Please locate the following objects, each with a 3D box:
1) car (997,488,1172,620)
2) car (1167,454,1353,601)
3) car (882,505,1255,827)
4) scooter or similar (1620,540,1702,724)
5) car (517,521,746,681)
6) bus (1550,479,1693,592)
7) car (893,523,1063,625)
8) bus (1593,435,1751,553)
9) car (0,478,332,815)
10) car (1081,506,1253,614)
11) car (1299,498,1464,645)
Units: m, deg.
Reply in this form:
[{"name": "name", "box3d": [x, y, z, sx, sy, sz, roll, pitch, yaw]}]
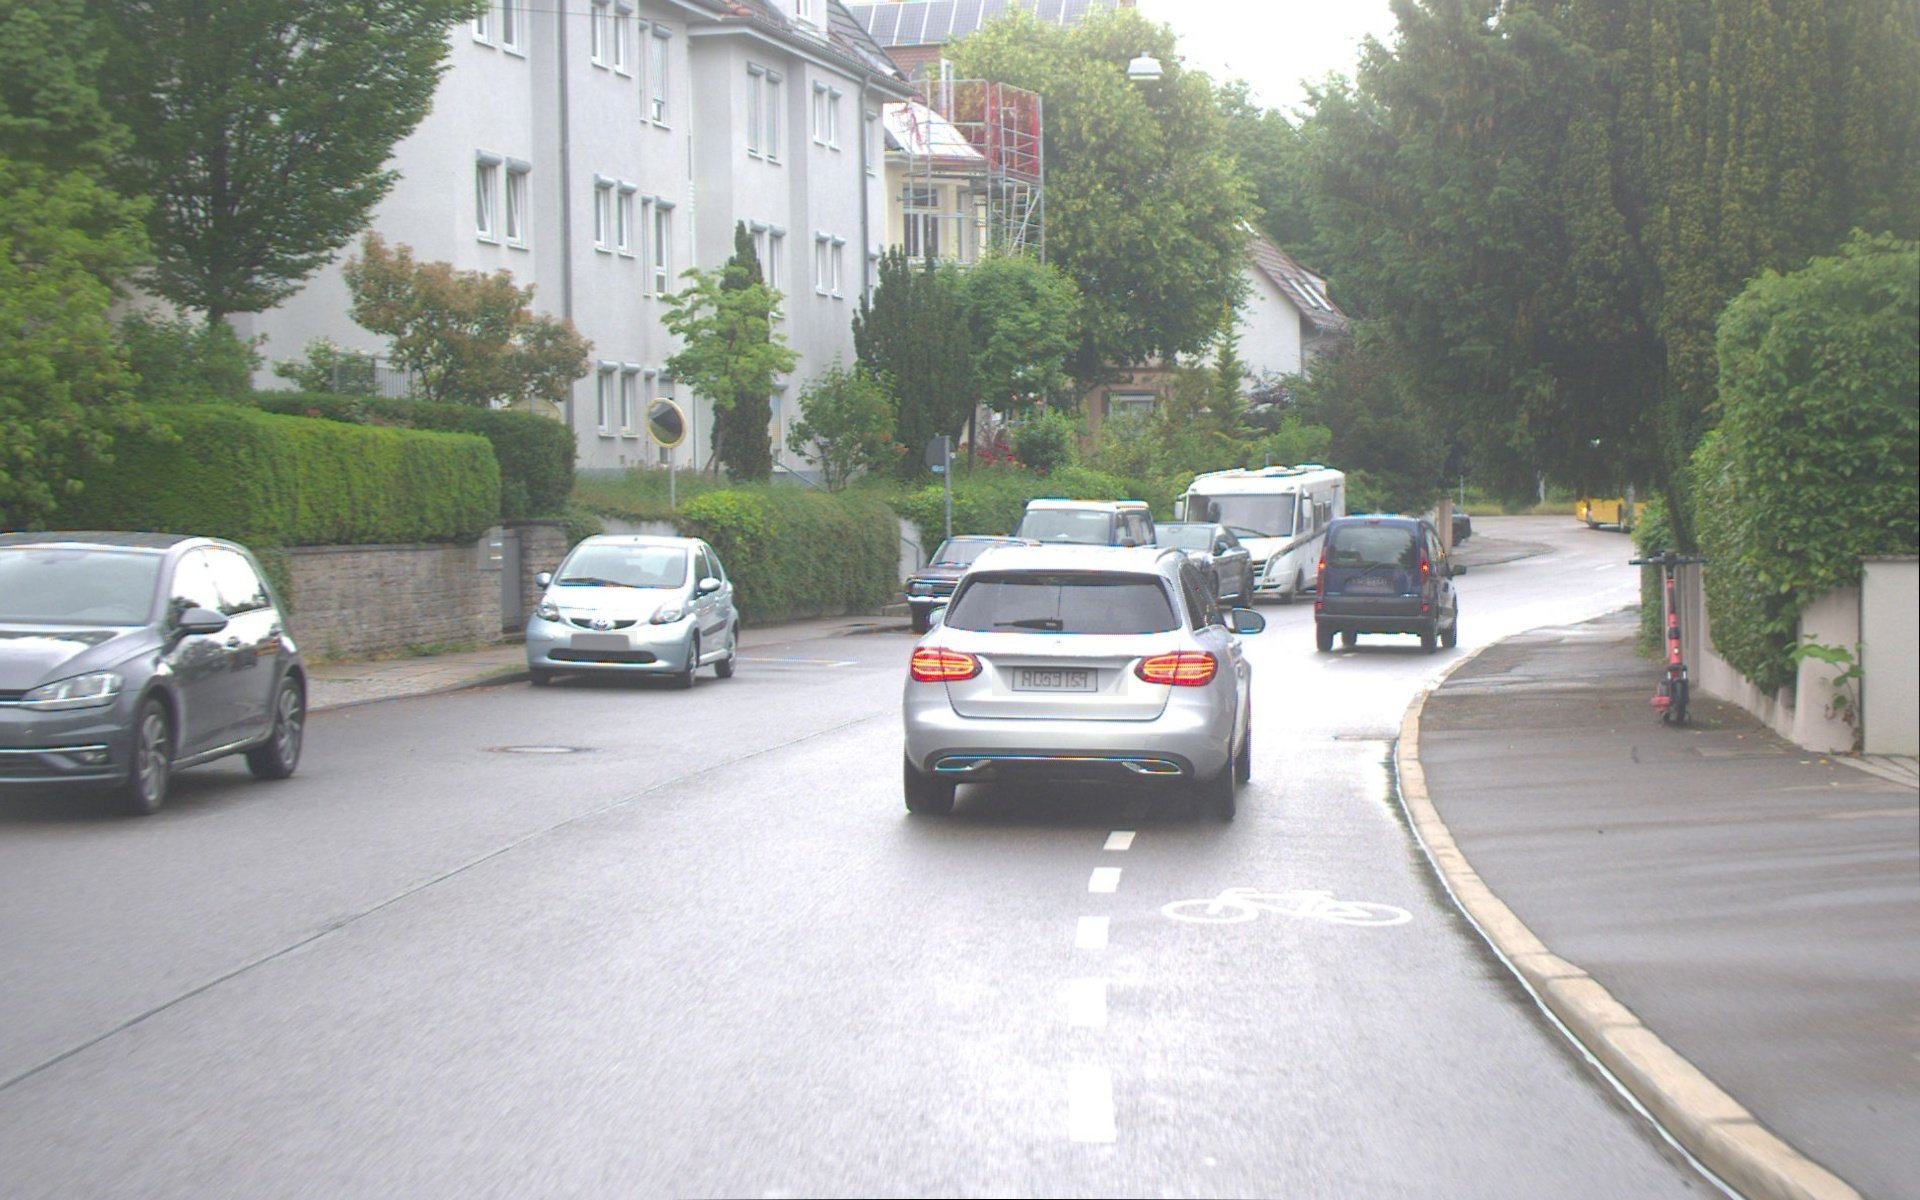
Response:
[{"name": "car", "box3d": [2.123, -0.768, 57.089, 1.830, 2.049, 5.006, 2, 1, 14]}, {"name": "car", "box3d": [6.200, -1.557, 70.171, 2.393, 2.762, 6.527, 2, 3, 17]}, {"name": "car", "box3d": [0.713, 0.276, 19.337, 1.816, 1.551, 4.000, 2, 2, 5]}, {"name": "scooter or similar", "box3d": [5.124, 0.217, 25.164, 0.450, 1.303, 1.481, -1, 1, 7]}, {"name": "car", "box3d": [-3.220, -0.029, 34.252, 1.605, 1.481, 3.486, 1, 1, 6]}, {"name": "bus", "box3d": [23.967, -2.432, 125.194, 2.928, 3.638, 10.305, 1, 4, -1]}, {"name": "car", "box3d": [0.319, -0.427, 51.584, 1.644, 1.412, 4.610, 2, 2, 12]}, {"name": "bus", "box3d": [24.163, -3.691, 117.230, 2.928, 3.638, 10.171, 1, 4, -2]}, {"name": "car", "box3d": [-4.900, 0.155, 18.901, 1.792, 1.575, 4.138, 3, 2, 4]}, {"name": "car", "box3d": [3.811, -0.767, 62.547, 1.995, 1.682, 4.673, 2, 4, 18]}, {"name": "car", "box3d": [5.852, -0.408, 47.408, 1.844, 1.897, 3.998, 1, 1, 12]}]
